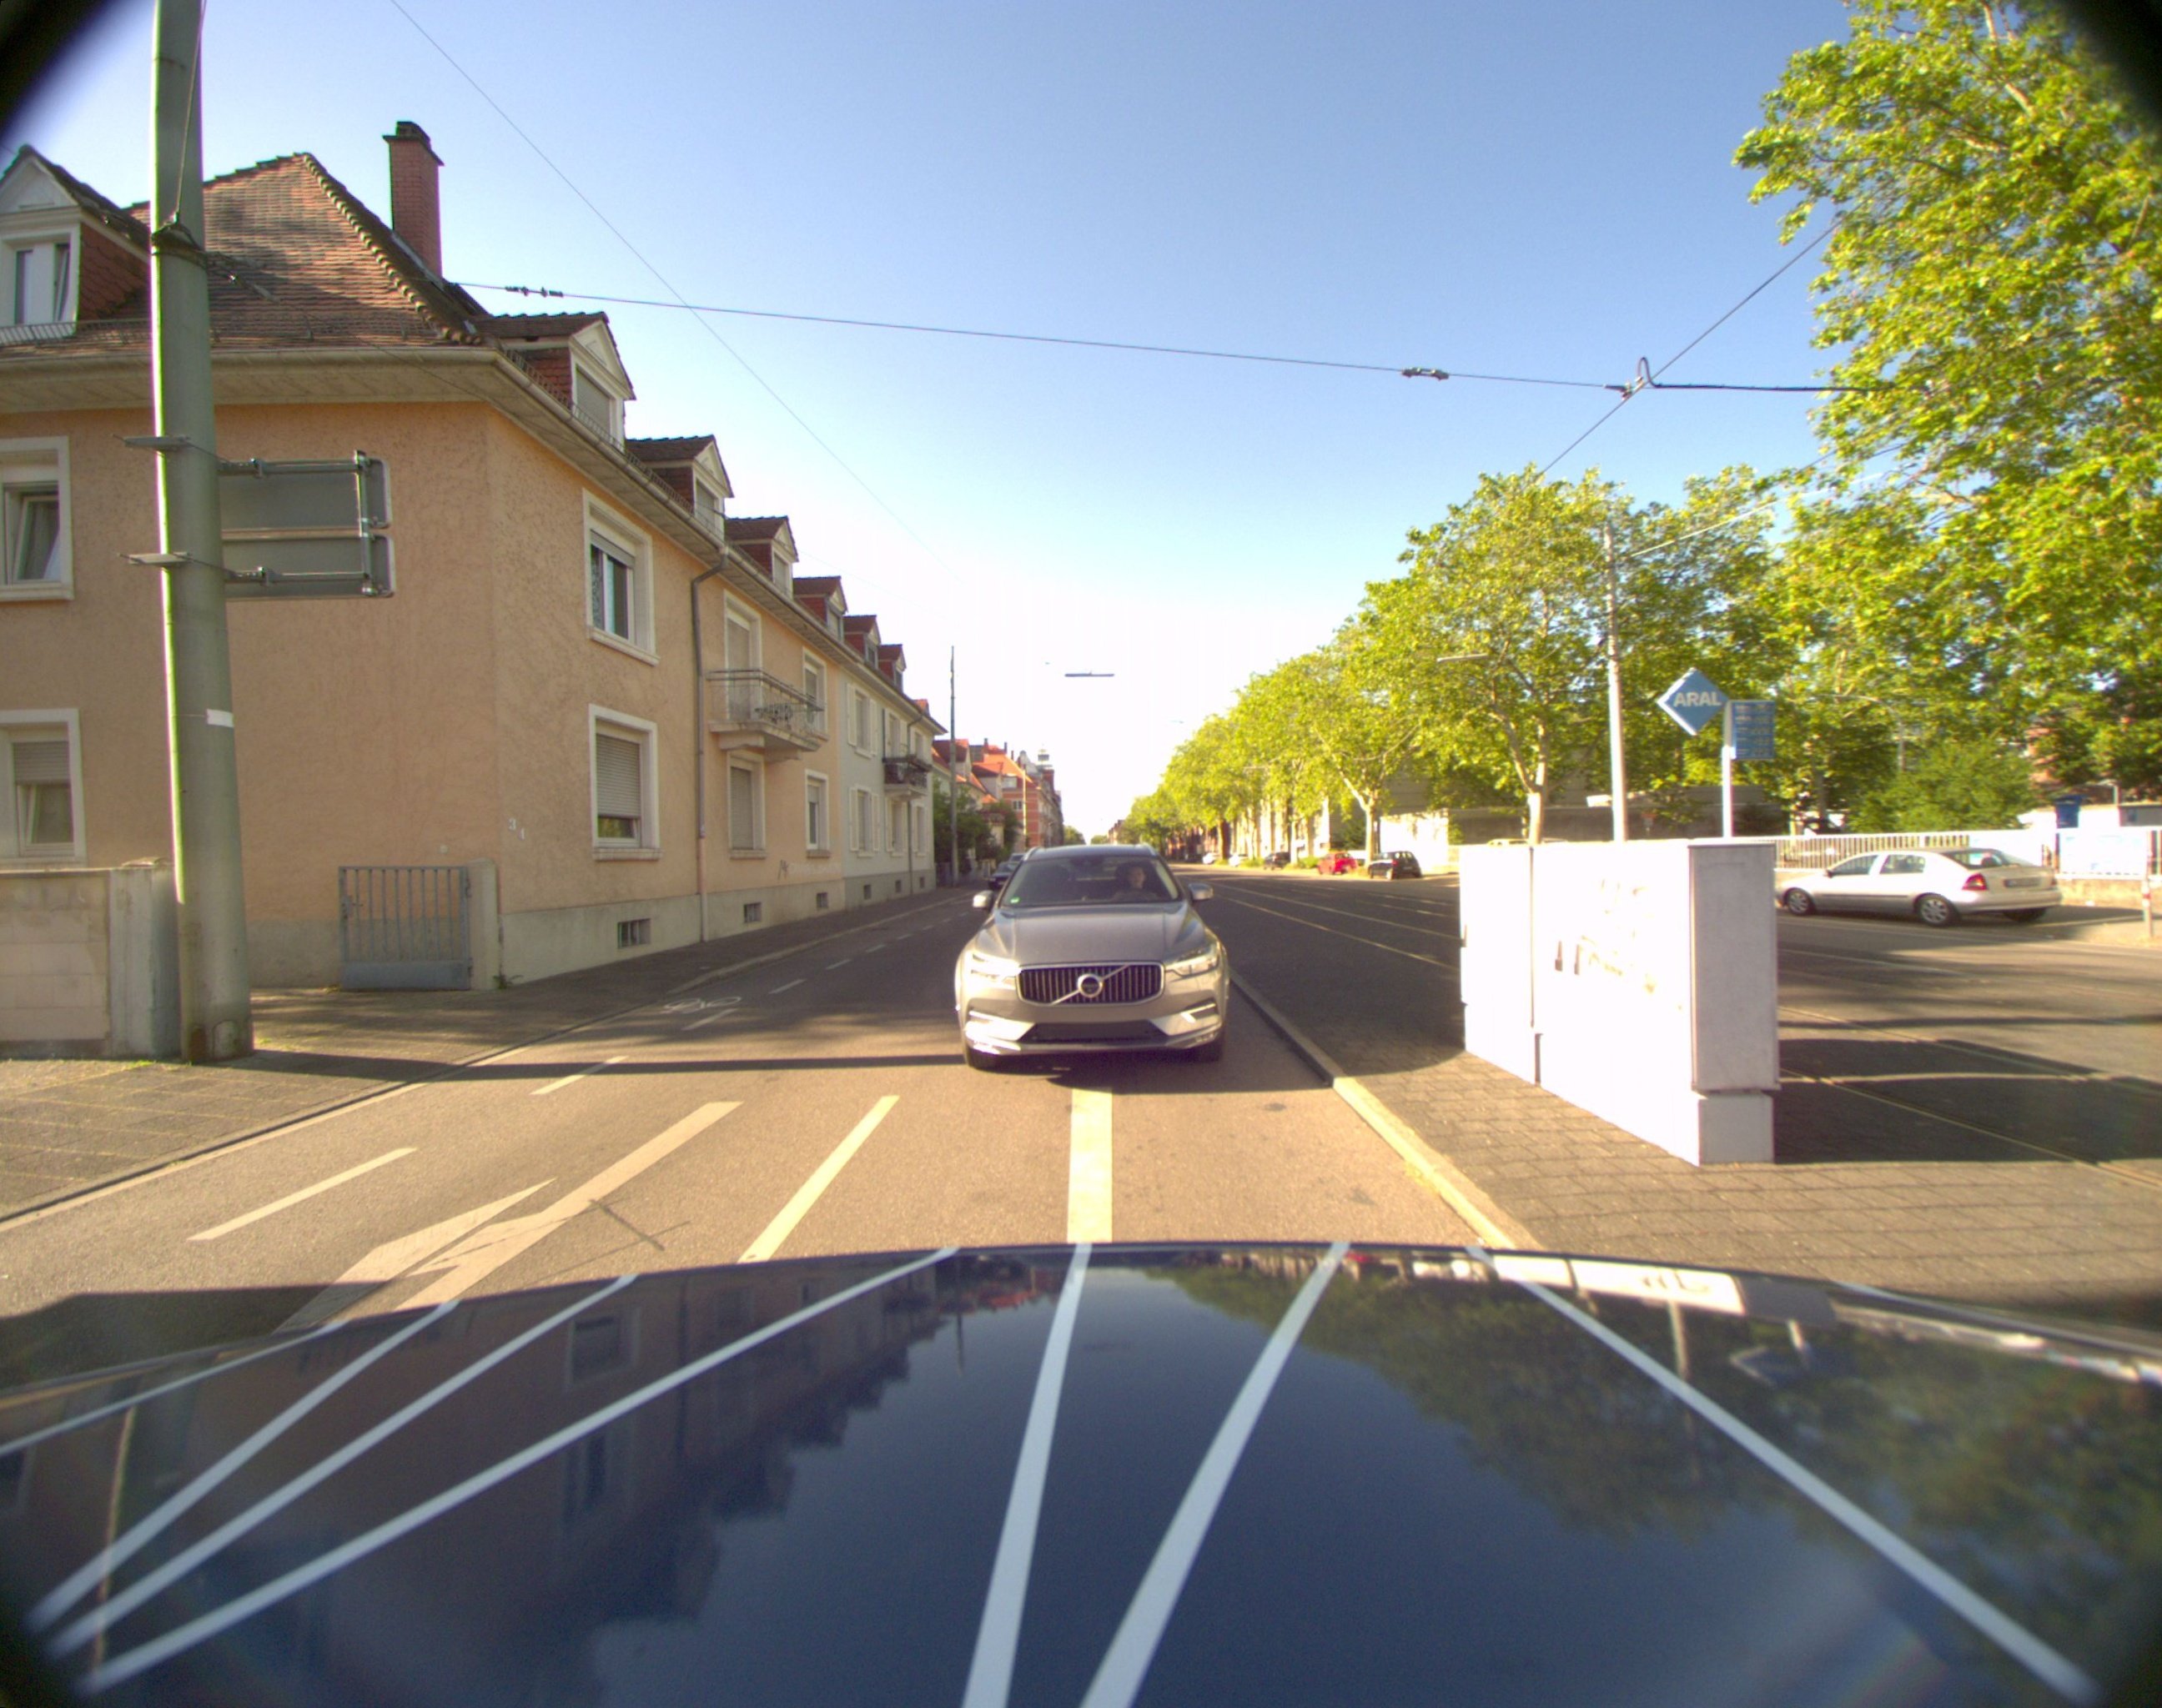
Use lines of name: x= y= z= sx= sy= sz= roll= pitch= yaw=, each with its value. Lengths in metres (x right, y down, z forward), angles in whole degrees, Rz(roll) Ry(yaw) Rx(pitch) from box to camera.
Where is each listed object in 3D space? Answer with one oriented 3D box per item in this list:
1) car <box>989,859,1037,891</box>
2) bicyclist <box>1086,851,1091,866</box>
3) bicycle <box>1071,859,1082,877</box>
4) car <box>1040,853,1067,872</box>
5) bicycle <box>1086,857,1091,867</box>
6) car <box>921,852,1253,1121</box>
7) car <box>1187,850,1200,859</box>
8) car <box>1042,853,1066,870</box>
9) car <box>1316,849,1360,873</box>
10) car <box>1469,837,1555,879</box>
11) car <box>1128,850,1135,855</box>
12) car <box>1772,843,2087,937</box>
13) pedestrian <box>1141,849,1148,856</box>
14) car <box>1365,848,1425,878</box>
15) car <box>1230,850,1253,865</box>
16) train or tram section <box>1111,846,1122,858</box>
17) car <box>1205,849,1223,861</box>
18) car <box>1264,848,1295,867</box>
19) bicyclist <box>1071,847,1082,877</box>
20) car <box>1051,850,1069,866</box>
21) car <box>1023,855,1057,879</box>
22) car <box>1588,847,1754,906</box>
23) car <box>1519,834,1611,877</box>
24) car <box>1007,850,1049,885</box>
car: x=-3.241 y=0.964 z=37.061 sx=1.867 sy=1.399 sz=4.424 roll=-1 pitch=0 yaw=1
bicyclist: x=0.827 y=0.498 z=85.886 sx=0.562 sy=1.607 sz=1.016 roll=-2 pitch=1 yaw=0
bicycle: x=-0.250 y=0.801 z=43.984 sx=0.533 sy=1.011 sz=1.758 roll=-1 pitch=0 yaw=2
car: x=-2.140 y=0.669 z=60.042 sx=1.867 sy=1.399 sz=4.078 roll=-1 pitch=0 yaw=1
bicycle: x=0.827 y=0.858 z=85.807 sx=0.550 sy=1.056 sz=1.794 roll=-1 pitch=1 yaw=-1
car: x=0.068 y=0.810 z=7.002 sx=1.998 sy=1.609 sz=4.697 roll=-1 pitch=0 yaw=1
car: x=18.494 y=0.064 z=125.281 sx=1.758 sy=1.475 sz=3.858 roll=-3 pitch=0 yaw=3
car: x=-2.361 y=0.622 z=66.347 sx=1.867 sy=1.399 sz=4.078 roll=-1 pitch=0 yaw=1
car: x=16.898 y=0.454 z=50.171 sx=1.717 sy=1.421 sz=3.858 roll=-3 pitch=0 yaw=3
car: x=21.806 y=0.171 z=38.628 sx=1.999 sy=2.002 sz=3.999 roll=-1 pitch=0 yaw=-1
car: x=14.865 y=-0.445 z=224.322 sx=1.998 sy=1.685 sz=4.000 roll=-1 pitch=0 yaw=1
car: x=16.235 y=0.609 z=14.894 sx=1.847 sy=1.477 sz=3.858 roll=-4 pitch=0 yaw=2
pedestrian: x=17.001 y=-0.449 z=203.618 sx=1.686 sy=2.002 sz=1.761 roll=-1 pitch=1 yaw=1
car: x=16.886 y=0.461 z=41.029 sx=1.758 sy=1.449 sz=3.858 roll=-3 pitch=0 yaw=3
car: x=17.569 y=0.360 z=83.330 sx=1.758 sy=1.475 sz=3.858 roll=-3 pitch=0 yaw=3
train or tram section: x=12.115 y=-0.665 z=258.133 sx=3.482 sy=3.695 sz=10.885 roll=-1 pitch=0 yaw=2
car: x=17.660 y=0.169 z=100.924 sx=1.758 sy=1.475 sz=3.858 roll=-3 pitch=0 yaw=3
car: x=17.165 y=0.297 z=65.903 sx=1.758 sy=1.536 sz=3.858 roll=-3 pitch=0 yaw=3
bicyclist: x=-0.241 y=0.446 z=44.064 sx=0.561 sy=1.721 sz=1.084 roll=-2 pitch=1 yaw=1
car: x=-2.334 y=0.434 z=85.436 sx=1.867 sy=1.653 sz=4.078 roll=-1 pitch=0 yaw=1
car: x=-2.584 y=0.815 z=48.483 sx=1.867 sy=1.399 sz=4.078 roll=-1 pitch=0 yaw=1
car: x=16.475 y=0.570 z=21.502 sx=1.745 sy=1.389 sz=3.858 roll=-4 pitch=0 yaw=3
car: x=24.154 y=0.082 z=38.088 sx=1.999 sy=2.002 sz=3.999 roll=-1 pitch=0 yaw=-1
car: x=-2.919 y=0.702 z=42.816 sx=1.867 sy=1.778 sz=5.297 roll=-1 pitch=0 yaw=1
